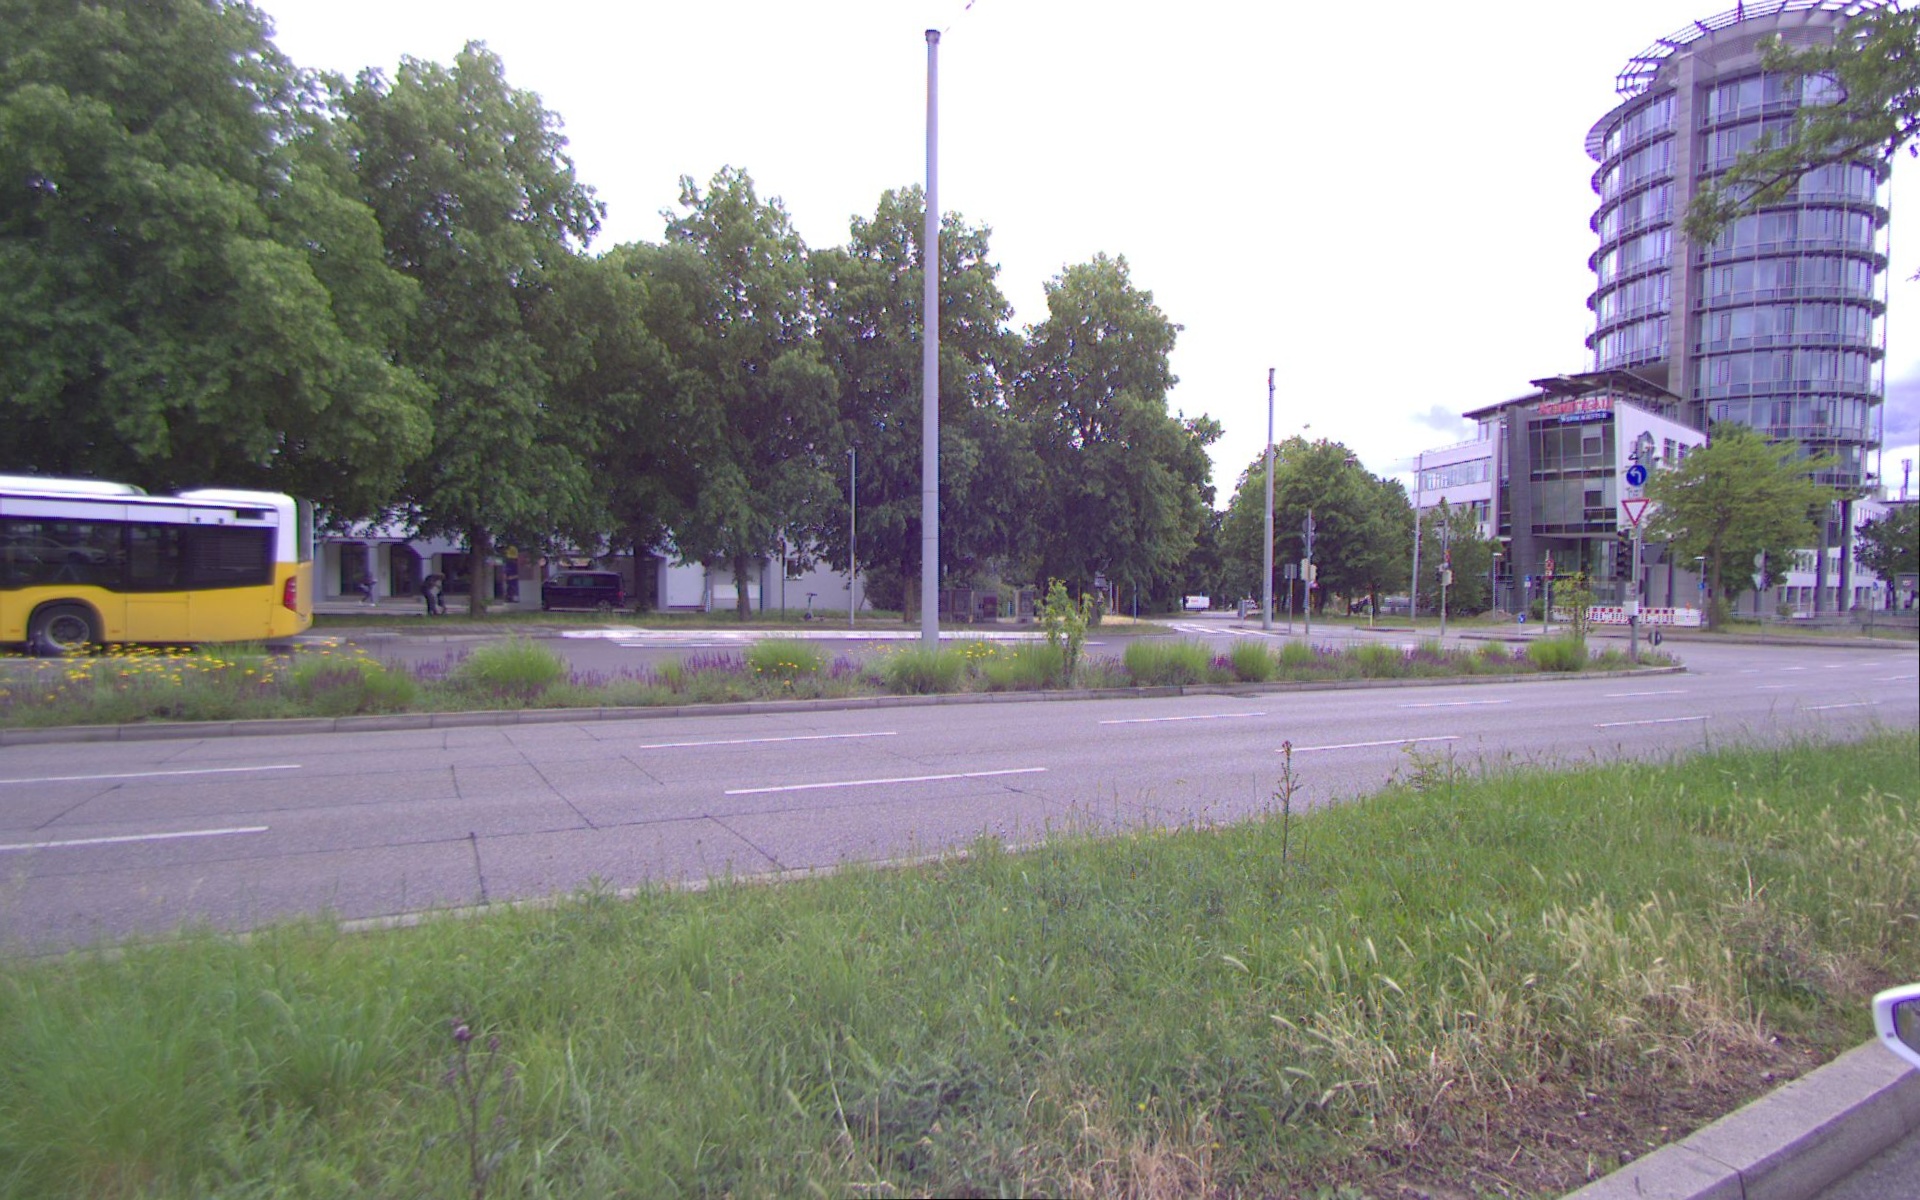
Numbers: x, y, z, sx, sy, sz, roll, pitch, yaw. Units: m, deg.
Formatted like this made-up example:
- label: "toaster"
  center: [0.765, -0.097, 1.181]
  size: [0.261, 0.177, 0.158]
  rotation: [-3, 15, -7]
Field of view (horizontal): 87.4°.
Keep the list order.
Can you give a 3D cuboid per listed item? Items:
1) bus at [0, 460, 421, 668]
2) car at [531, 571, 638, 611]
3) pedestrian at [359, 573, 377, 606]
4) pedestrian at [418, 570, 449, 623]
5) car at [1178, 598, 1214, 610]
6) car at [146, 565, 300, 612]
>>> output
- label: "bus"
  center: [-15.760, -0.651, 18.836]
  size: [9.779, 3.502, 3.021]
  rotation: [1, 2, -26]
- label: "car"
  center: [-18.350, -0.420, 49.290]
  size: [4.736, 1.857, 1.994]
  rotation: [1, 1, -15]
- label: "pedestrian"
  center: [-28.113, -0.491, 47.708]
  size: [0.658, 1.568, 0.656]
  rotation: [1, 1, -22]
- label: "pedestrian"
  center: [-17.179, -0.120, 32.761]
  size: [0.848, 1.711, 0.453]
  rotation: [1, 1, -30]
- label: "car"
  center: [41.734, 0.671, 177.344]
  size: [5.881, 2.040, 1.995]
  rotation: [1, 1, -14]
- label: "car"
  center: [-26.768, -0.399, 36.652]
  size: [4.191, 1.602, 1.987]
  rotation: [1, 1, -26]
